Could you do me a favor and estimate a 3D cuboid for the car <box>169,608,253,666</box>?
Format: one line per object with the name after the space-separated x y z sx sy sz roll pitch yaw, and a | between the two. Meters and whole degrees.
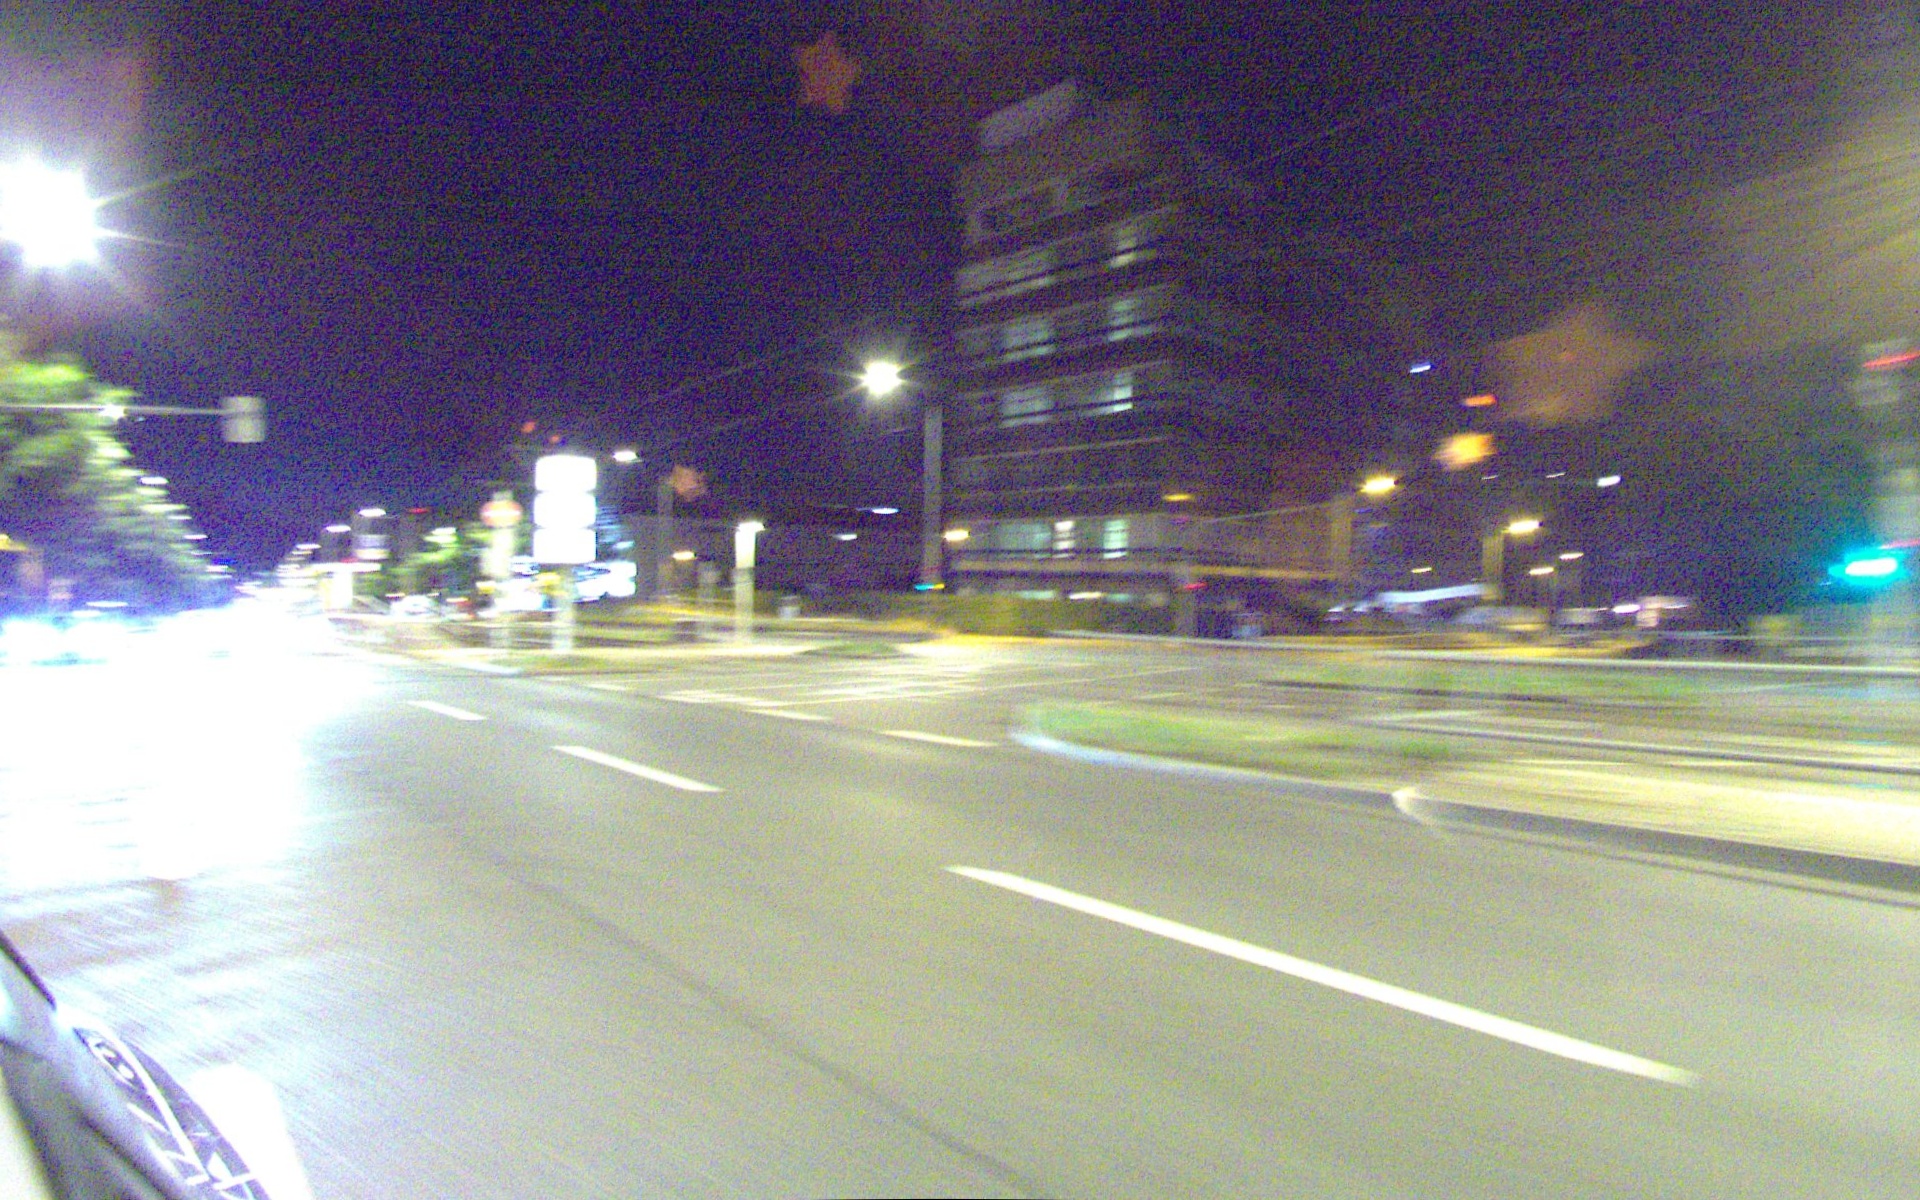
-21.408 1.029 29.038 1.830 1.502 3.568 -1 -1 -35 | car

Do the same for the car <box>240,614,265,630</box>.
-76.932 2.367 110.049 1.879 1.630 3.724 -1 0 -40 | car

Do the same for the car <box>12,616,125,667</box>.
-24.915 1.145 28.414 1.917 1.317 3.915 2 -2 -35 | car
